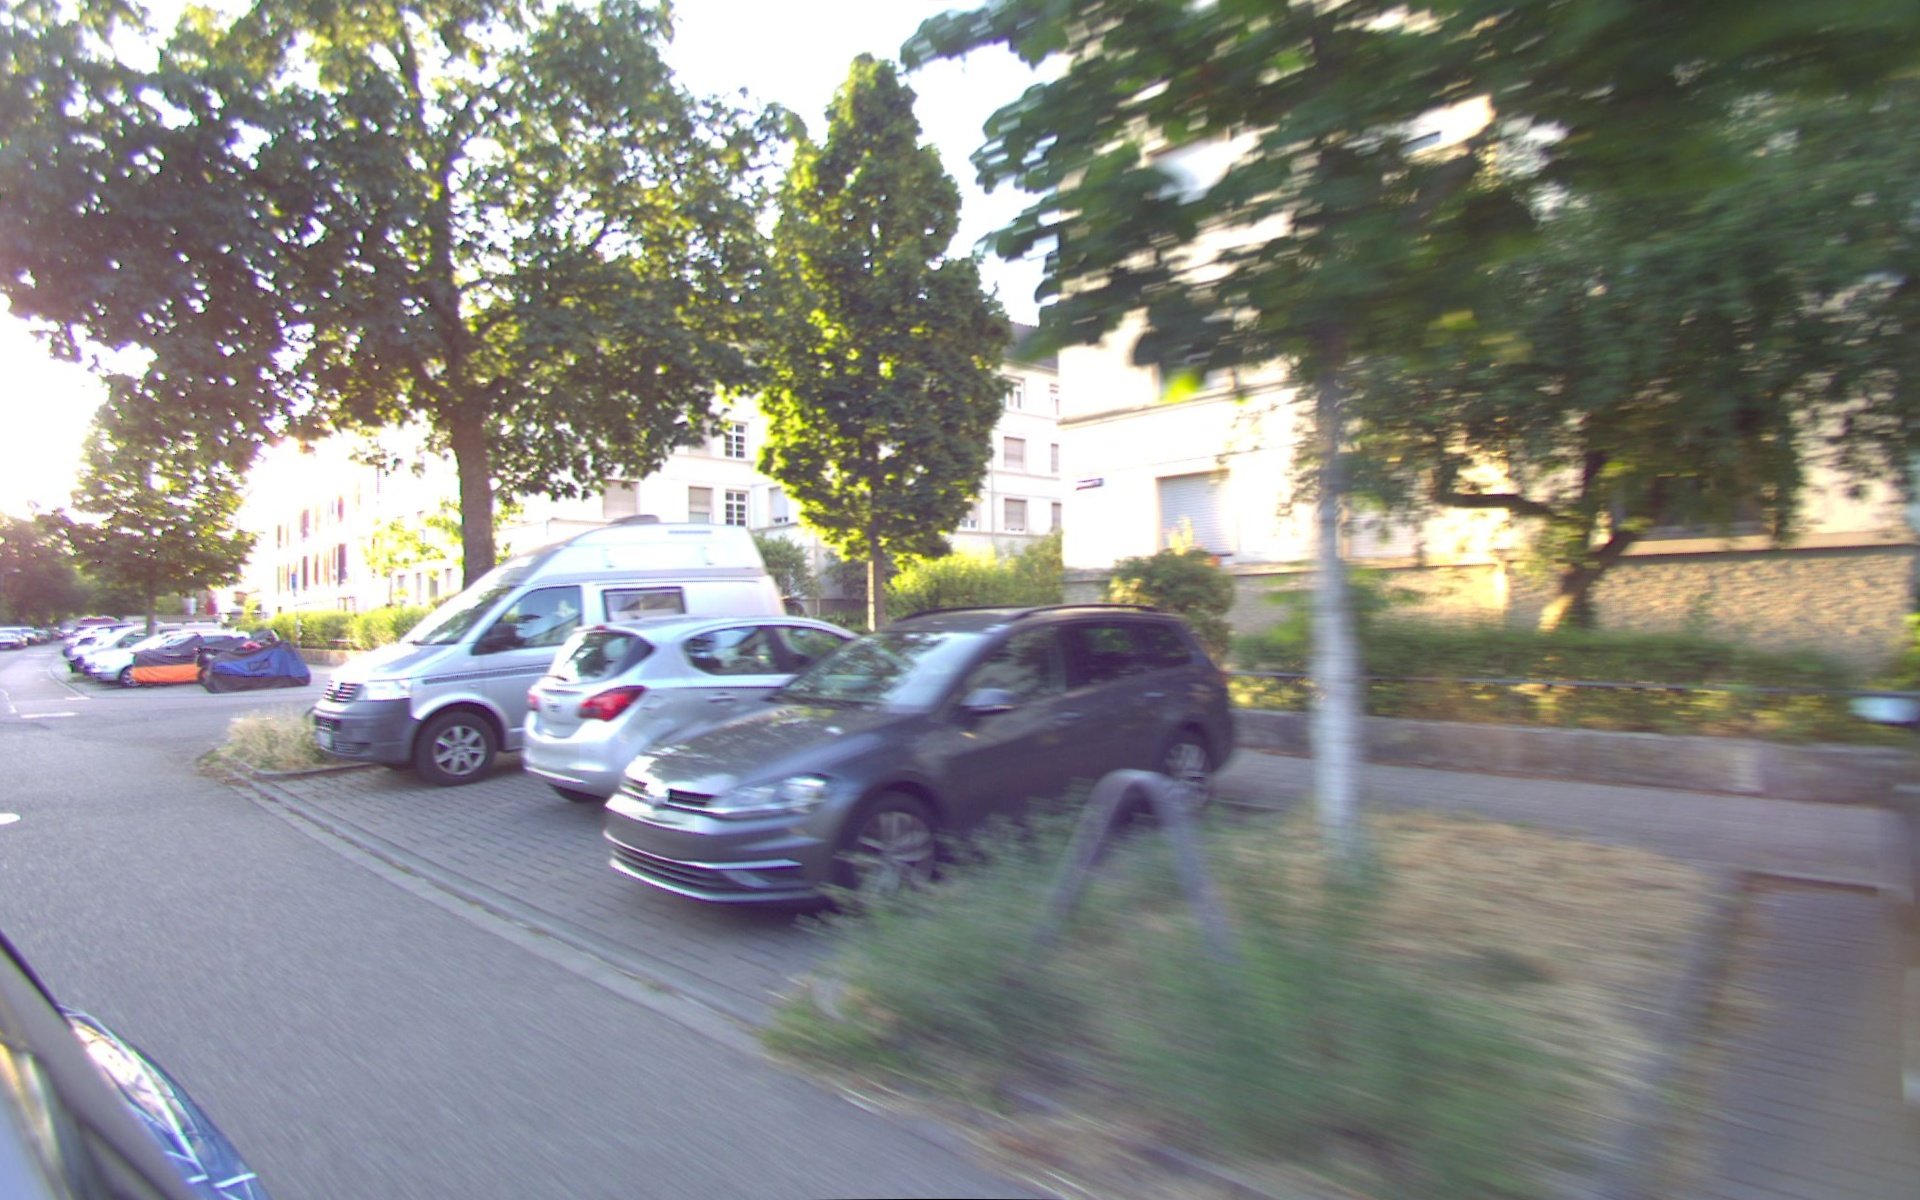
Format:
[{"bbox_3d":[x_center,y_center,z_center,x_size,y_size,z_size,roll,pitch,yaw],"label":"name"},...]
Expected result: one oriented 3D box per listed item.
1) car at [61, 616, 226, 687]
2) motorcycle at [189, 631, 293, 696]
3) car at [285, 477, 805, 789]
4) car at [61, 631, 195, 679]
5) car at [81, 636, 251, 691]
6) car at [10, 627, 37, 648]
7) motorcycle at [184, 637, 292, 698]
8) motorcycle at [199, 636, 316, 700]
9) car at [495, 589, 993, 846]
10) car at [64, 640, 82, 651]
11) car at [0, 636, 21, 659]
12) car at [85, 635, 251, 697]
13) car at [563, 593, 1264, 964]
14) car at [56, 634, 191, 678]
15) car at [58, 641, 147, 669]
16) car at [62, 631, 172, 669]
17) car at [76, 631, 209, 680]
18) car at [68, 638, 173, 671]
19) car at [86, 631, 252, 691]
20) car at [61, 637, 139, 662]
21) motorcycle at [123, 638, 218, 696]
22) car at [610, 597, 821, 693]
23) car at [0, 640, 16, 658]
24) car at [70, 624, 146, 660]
[{"bbox_3d":[-29.572,1.819,36.791,4.457,2.085,2.003,-5,0,-40],"label":"car"},{"bbox_3d":[-19.375,1.686,27.306,2.203,1.594,0.775,-1,-1,-41],"label":"motorcycle"},{"bbox_3d":[-4.165,0.265,10.775,2.000,2.589,4.679,-2,-1,43],"label":"car"},{"bbox_3d":[-34.758,2.257,42.337,4.193,1.633,1.815,-3,0,-43],"label":"car"},{"bbox_3d":[-26.163,2.041,33.429,4.274,1.416,1.854,-4,1,-42],"label":"car"},{"bbox_3d":[-96.550,3.893,104.385,1.970,2.029,4.004,-1,-1,-43],"label":"car"},{"bbox_3d":[-18.707,1.720,26.247,2.203,1.447,0.775,-1,-1,-41],"label":"motorcycle"},{"bbox_3d":[-17.833,1.694,25.714,2.353,1.447,0.882,-1,-1,-41],"label":"motorcycle"},{"bbox_3d":[-1.601,0.763,8.460,1.652,1.534,3.762,-2,1,43],"label":"car"},{"bbox_3d":[-122.932,6.287,140.191,1.737,1.498,3.788,2,-3,-43],"label":"car"},{"bbox_3d":[-83.438,4.145,88.494,1.911,1.918,4.059,-1,-1,-43],"label":"car"},{"bbox_3d":[-22.787,1.846,29.189,3.668,1.517,1.692,-1,-1,-42],"label":"car"},{"bbox_3d":[0.024,0.726,6.155,1.685,1.404,4.196,-2,0,45],"label":"car"},{"bbox_3d":[-36.386,2.398,44.084,4.358,1.462,1.829,-4,1,-45],"label":"car"},{"bbox_3d":[-53.409,3.405,63.053,2.052,1.601,3.947,-2,-2,40],"label":"car"},{"bbox_3d":[-48.342,2.857,58.178,4.793,2.070,2.004,1,-2,-39],"label":"car"},{"bbox_3d":[-32.734,2.179,40.562,3.942,1.495,1.757,-6,2,-44],"label":"car"},{"bbox_3d":[-45.027,2.901,54.331,1.739,1.426,4.093,-2,1,44],"label":"car"},{"bbox_3d":[-24.378,1.821,31.259,3.938,1.595,1.731,-1,-1,-42],"label":"car"},{"bbox_3d":[-63.378,3.620,74.626,4.284,1.536,1.708,-2,0,-42],"label":"car"},{"bbox_3d":[-21.774,1.819,27.930,0.721,1.447,1.964,-2,-1,42],"label":"motorcycle"},{"bbox_3d":[-5.790,0.994,24.345,4.524,2.029,2.001,-1,-1,-44],"label":"car"},{"bbox_3d":[-79.681,4.074,84.116,1.708,1.386,3.767,-1,-1,-43],"label":"car"},{"bbox_3d":[-64.996,3.185,77.232,4.347,2.576,1.935,-1,-1,-41],"label":"car"}]
